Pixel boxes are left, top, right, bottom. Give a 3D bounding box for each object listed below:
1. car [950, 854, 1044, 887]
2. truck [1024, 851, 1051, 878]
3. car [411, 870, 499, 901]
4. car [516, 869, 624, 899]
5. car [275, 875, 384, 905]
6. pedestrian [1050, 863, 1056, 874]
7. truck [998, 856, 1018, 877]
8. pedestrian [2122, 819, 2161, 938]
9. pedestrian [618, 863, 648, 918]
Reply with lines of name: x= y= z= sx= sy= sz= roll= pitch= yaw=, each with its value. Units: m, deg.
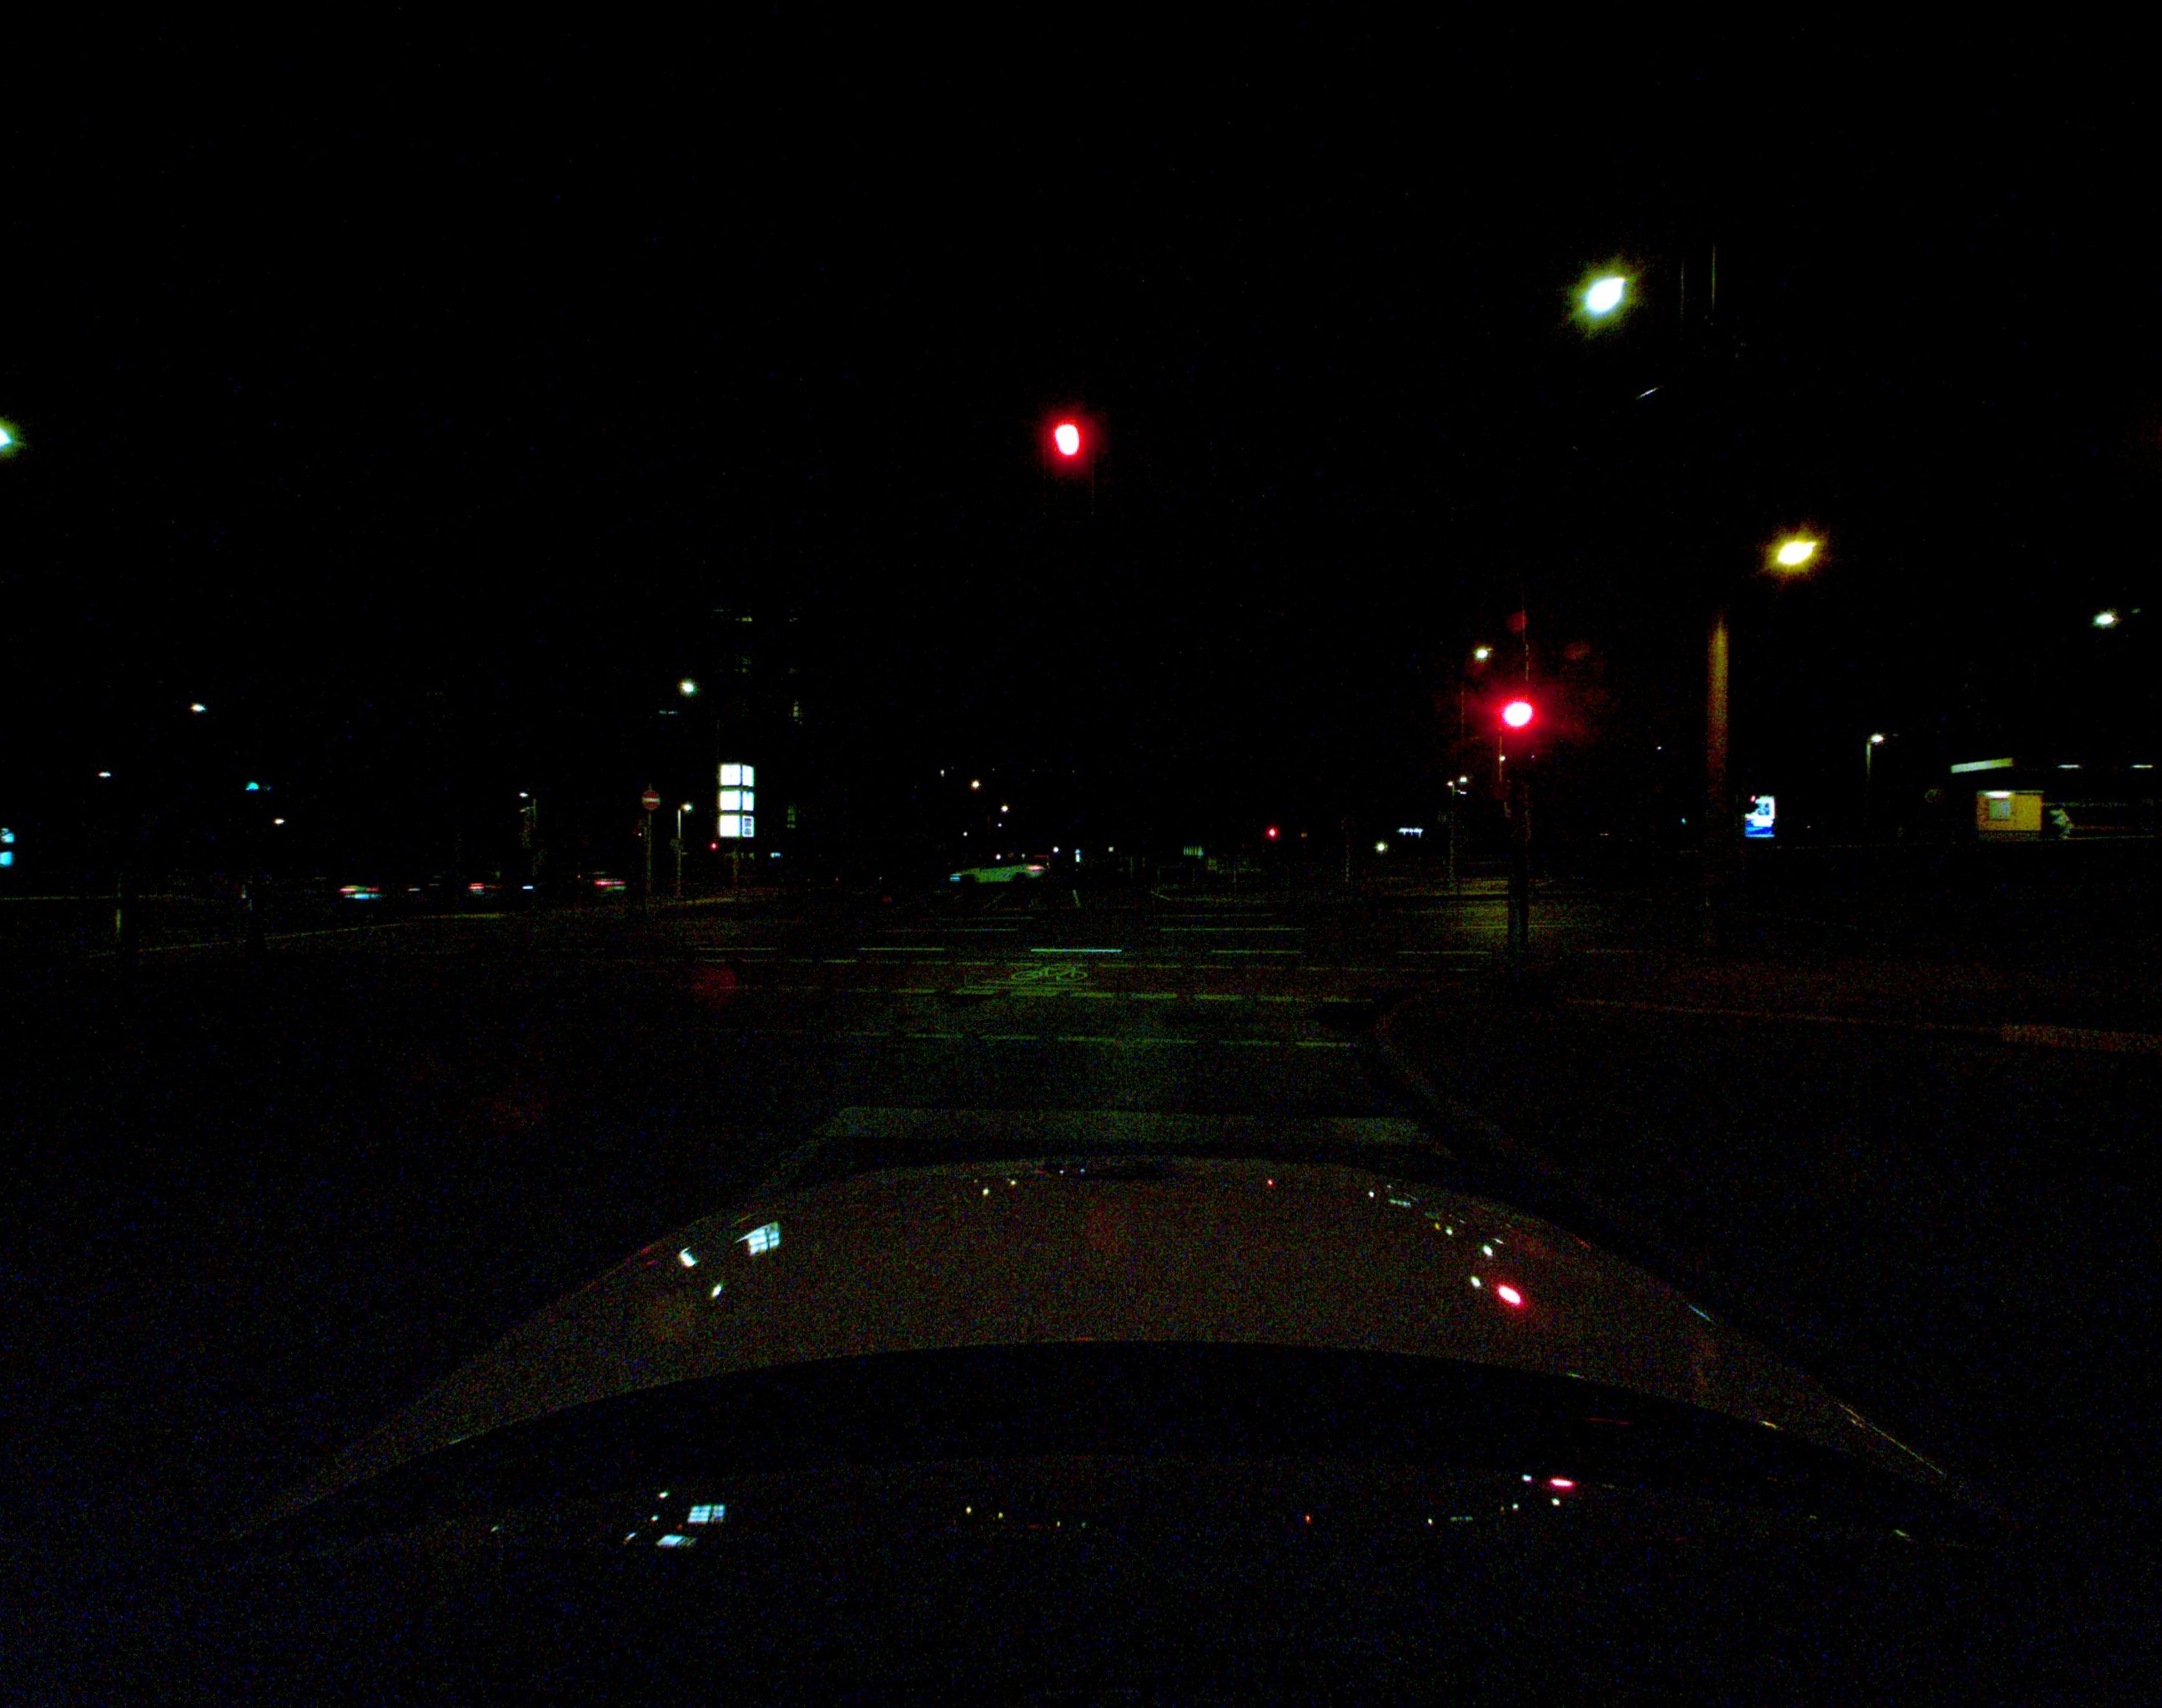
car: x=-4.197 y=0.825 z=41.160 sx=4.377 sy=1.644 sz=1.944 roll=0 pitch=-1 yaw=5
truck: x=-7.991 y=1.930 z=149.253 sx=3.366 sy=4.843 sz=7.865 roll=0 pitch=-1 yaw=-14
car: x=-36.012 y=1.788 z=46.916 sx=3.798 sy=1.631 sz=1.816 roll=-2 pitch=0 yaw=8
car: x=-26.616 y=1.565 z=42.498 sx=4.553 sy=1.486 sz=1.781 roll=0 pitch=0 yaw=5
car: x=-37.647 y=1.780 z=40.868 sx=3.817 sy=1.486 sz=1.871 roll=0 pitch=-1 yaw=5
pedestrian: x=-5.066 y=2.620 z=147.789 sx=0.851 sy=1.912 sz=1.001 roll=0 pitch=-1 yaw=-16
truck: x=-10.979 y=1.843 z=122.299 sx=2.419 sy=3.089 sz=6.412 roll=0 pitch=-1 yaw=-11
pedestrian: x=15.676 y=0.310 z=11.533 sx=0.870 sy=1.656 sz=0.843 roll=-7 pitch=-5 yaw=42
pedestrian: x=-14.134 y=1.144 z=25.707 sx=0.679 sy=1.722 sz=0.701 roll=1 pitch=-2 yaw=-20
